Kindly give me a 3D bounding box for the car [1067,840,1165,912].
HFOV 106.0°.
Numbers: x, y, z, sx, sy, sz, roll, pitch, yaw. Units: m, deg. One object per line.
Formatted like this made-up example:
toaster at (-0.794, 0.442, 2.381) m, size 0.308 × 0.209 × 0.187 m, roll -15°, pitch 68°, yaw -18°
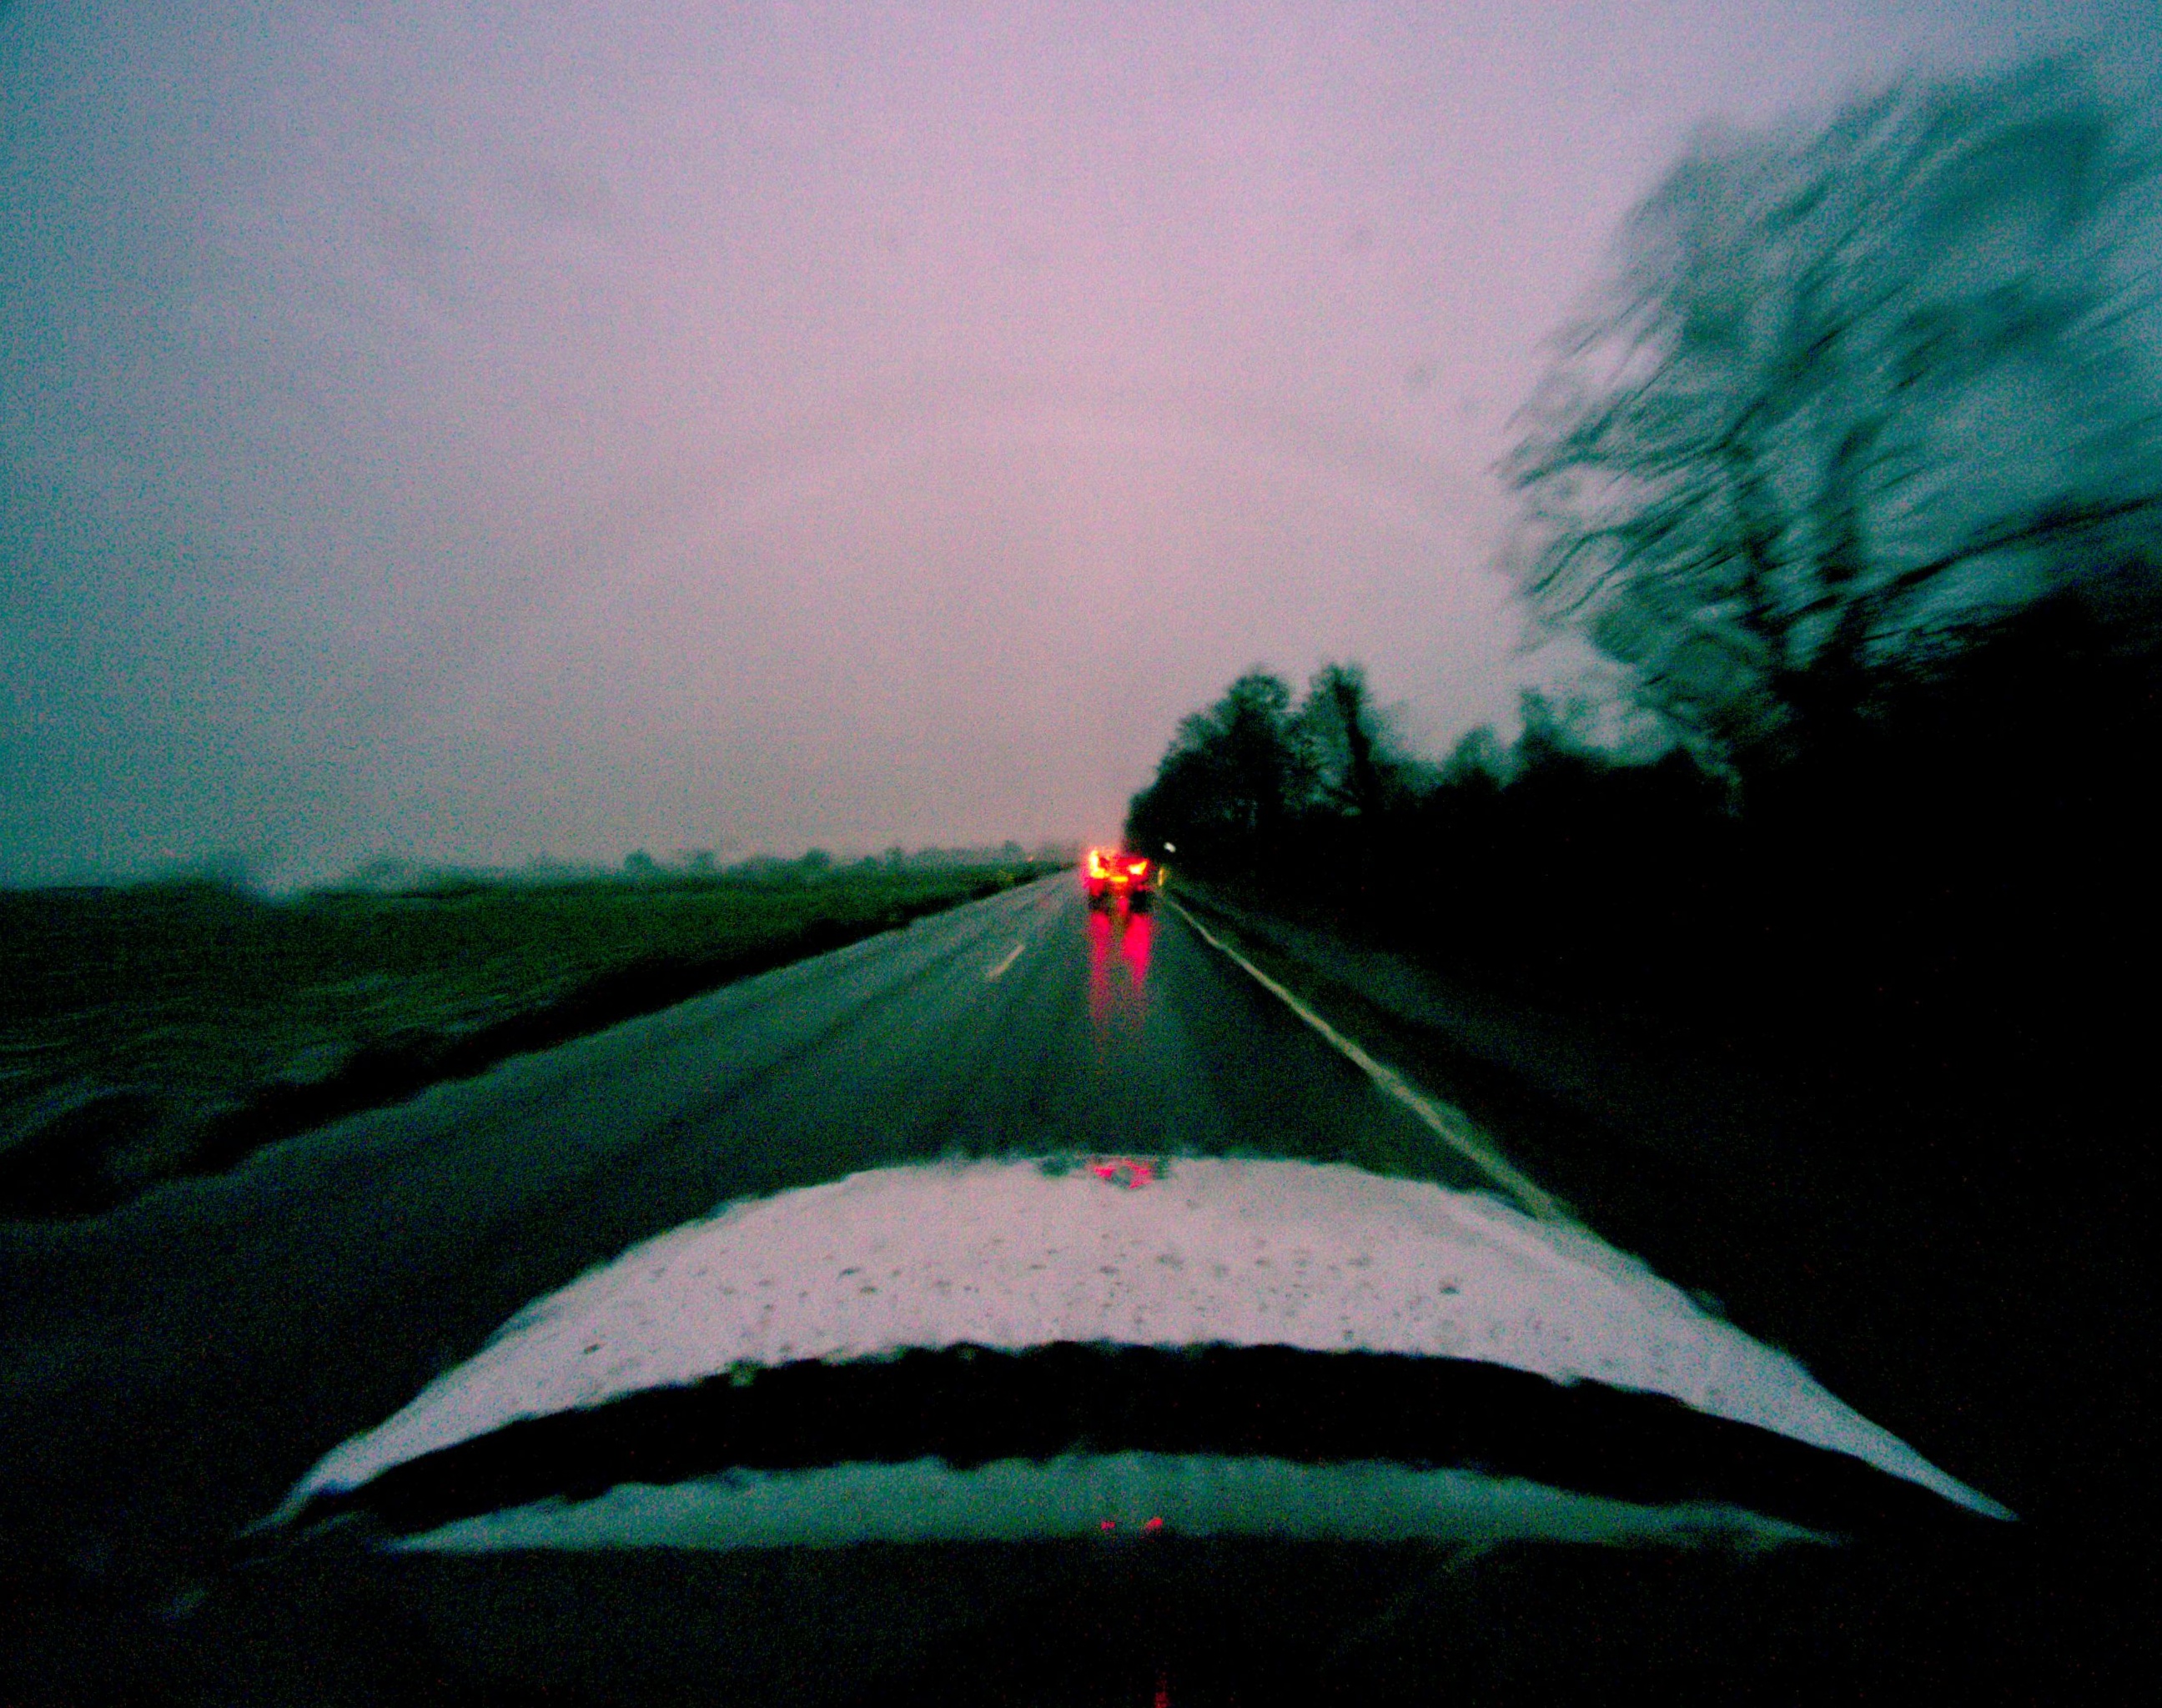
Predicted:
car at (1.144, 0.665, 26.447) m, size 2.809 × 2.077 × 5.808 m, roll 0°, pitch 0°, yaw 3°
